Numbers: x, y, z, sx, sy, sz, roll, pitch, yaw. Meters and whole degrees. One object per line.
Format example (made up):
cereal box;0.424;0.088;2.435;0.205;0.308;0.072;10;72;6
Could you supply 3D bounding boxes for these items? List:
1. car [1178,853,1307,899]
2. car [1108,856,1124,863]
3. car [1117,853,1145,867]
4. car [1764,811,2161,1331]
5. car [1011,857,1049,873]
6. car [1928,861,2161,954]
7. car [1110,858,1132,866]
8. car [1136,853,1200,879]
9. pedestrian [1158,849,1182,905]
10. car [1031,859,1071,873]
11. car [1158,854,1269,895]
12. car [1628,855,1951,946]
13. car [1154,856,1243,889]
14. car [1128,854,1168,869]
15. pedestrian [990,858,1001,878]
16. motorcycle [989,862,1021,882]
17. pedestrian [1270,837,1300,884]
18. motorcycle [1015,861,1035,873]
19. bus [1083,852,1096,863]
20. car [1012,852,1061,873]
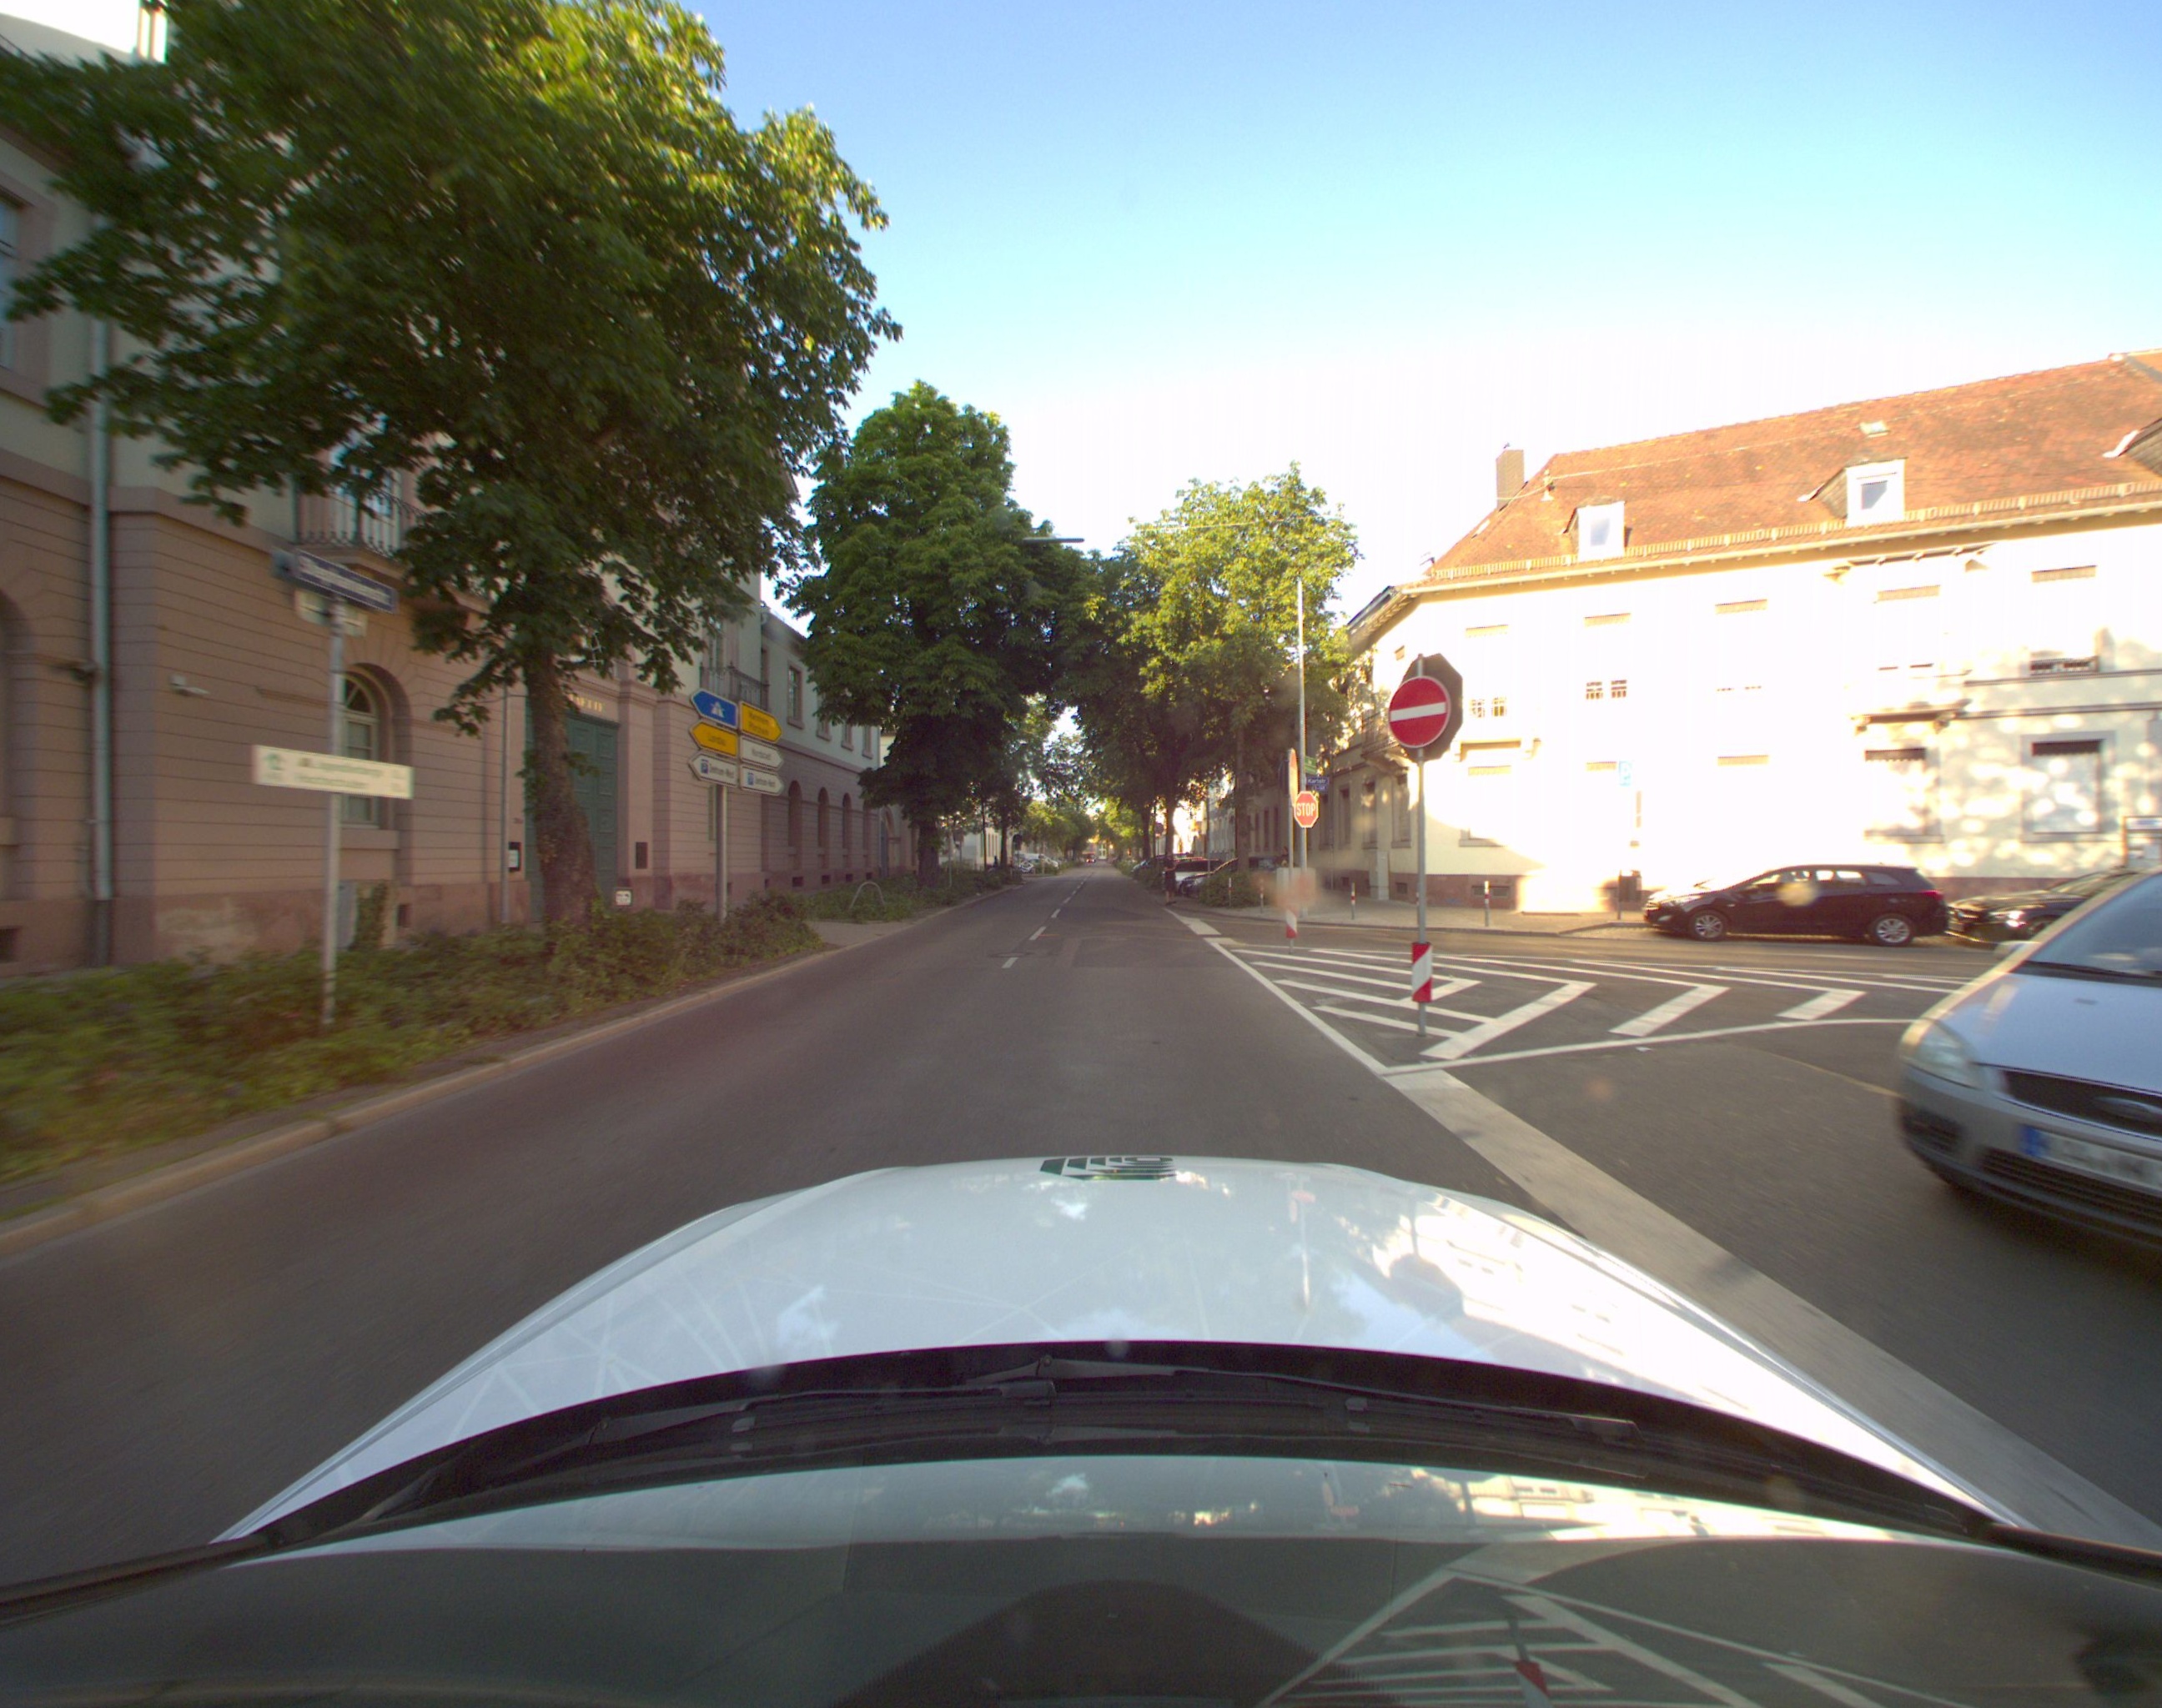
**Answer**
car;5.447;0.736;27.847;4.094;1.490;1.850;0;1;0
car;9.374;1.571;219.327;3.964;1.838;2.005;0;0;8
car;7.128;0.839;115.507;3.968;2.014;2.002;0;0;4
car;5.453;0.684;3.443;4.348;1.654;1.875;0;0;-17
car;-5.080;1.111;81.552;3.716;1.508;1.871;-1;0;-2
car;17.678;0.863;13.661;4.461;1.369;1.786;-1;2;25
car;7.391;1.510;151.513;3.974;1.442;1.696;-1;0;-1
car;5.716;0.776;53.851;4.001;1.623;1.780;-1;0;0
pedestrian;2.977;0.766;27.306;0.790;1.869;0.753;0;-1;6
car;-3.908;1.570;107.000;5.041;1.617;2.266;-1;0;4
car;5.258;0.812;32.818;4.177;1.480;1.853;-2;0;1
car;13.260;0.802;15.666;4.368;1.543;1.878;-1;0;27
car;5.583;0.876;39.112;4.001;1.480;1.780;-1;0;0
car;7.935;0.887;96.882;4.575;1.761;2.223;-1;0;2
pedestrian;-5.995;0.979;57.341;0.652;1.395;0.607;1;-1;1
motorcycle;-4.826;1.154;51.734;1.912;1.259;0.591;-1;0;1
pedestrian;7.449;0.229;29.740;0.939;1.706;0.783;-1;1;3
motorcycle;-4.967;1.172;72.351;1.630;1.068;0.656;0;0;1
bus;2.627;1.004;252.949;3.024;3.190;9.383;0;0;-6
car;-4.755;0.867;86.945;5.046;2.083;2.263;-1;0;1
